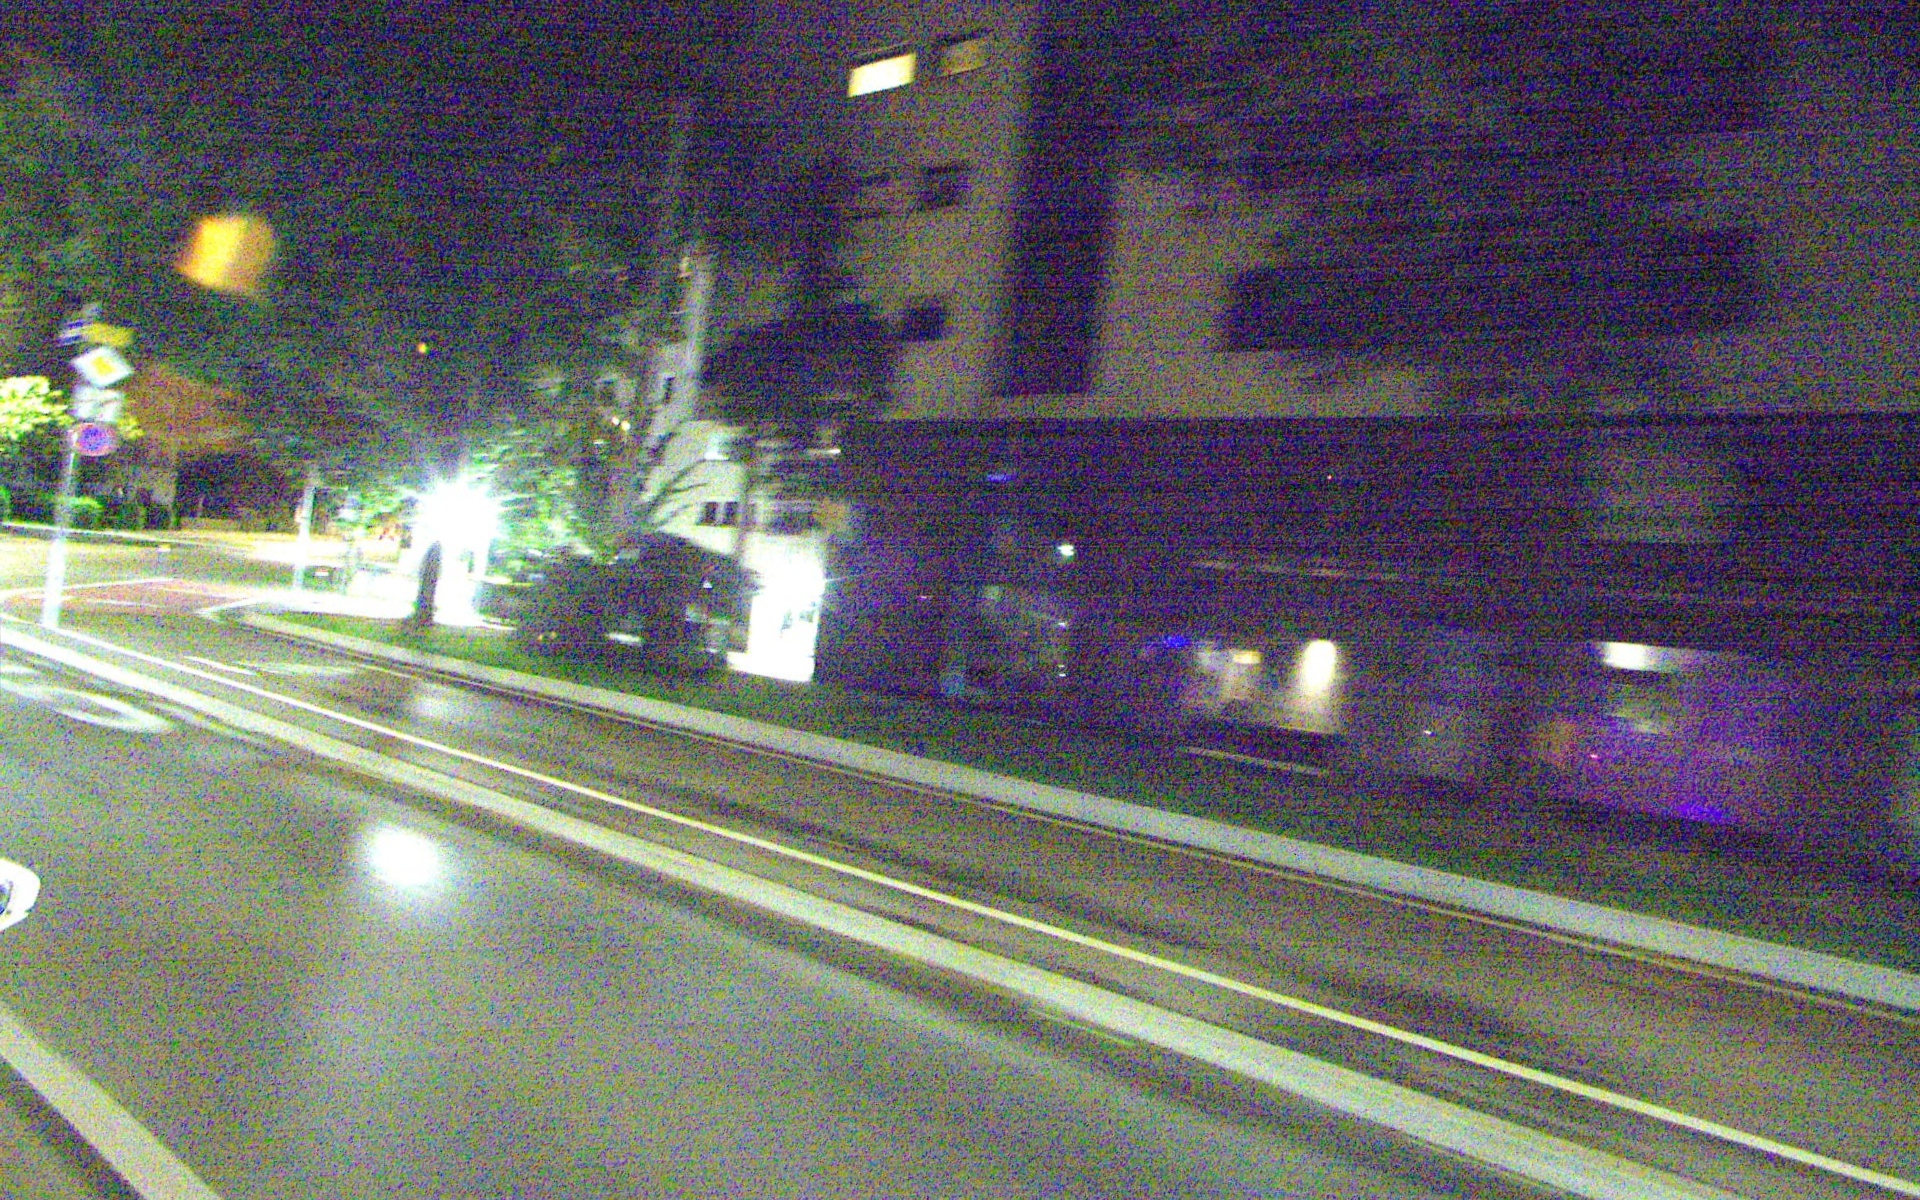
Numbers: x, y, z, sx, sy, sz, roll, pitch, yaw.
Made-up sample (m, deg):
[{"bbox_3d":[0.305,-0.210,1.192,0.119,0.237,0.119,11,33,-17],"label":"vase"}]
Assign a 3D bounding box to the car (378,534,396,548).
[{"bbox_3d":[-90.957,-9.328,159.739,1.907,1.876,3.977,7,-1,-25],"label":"car"}]
